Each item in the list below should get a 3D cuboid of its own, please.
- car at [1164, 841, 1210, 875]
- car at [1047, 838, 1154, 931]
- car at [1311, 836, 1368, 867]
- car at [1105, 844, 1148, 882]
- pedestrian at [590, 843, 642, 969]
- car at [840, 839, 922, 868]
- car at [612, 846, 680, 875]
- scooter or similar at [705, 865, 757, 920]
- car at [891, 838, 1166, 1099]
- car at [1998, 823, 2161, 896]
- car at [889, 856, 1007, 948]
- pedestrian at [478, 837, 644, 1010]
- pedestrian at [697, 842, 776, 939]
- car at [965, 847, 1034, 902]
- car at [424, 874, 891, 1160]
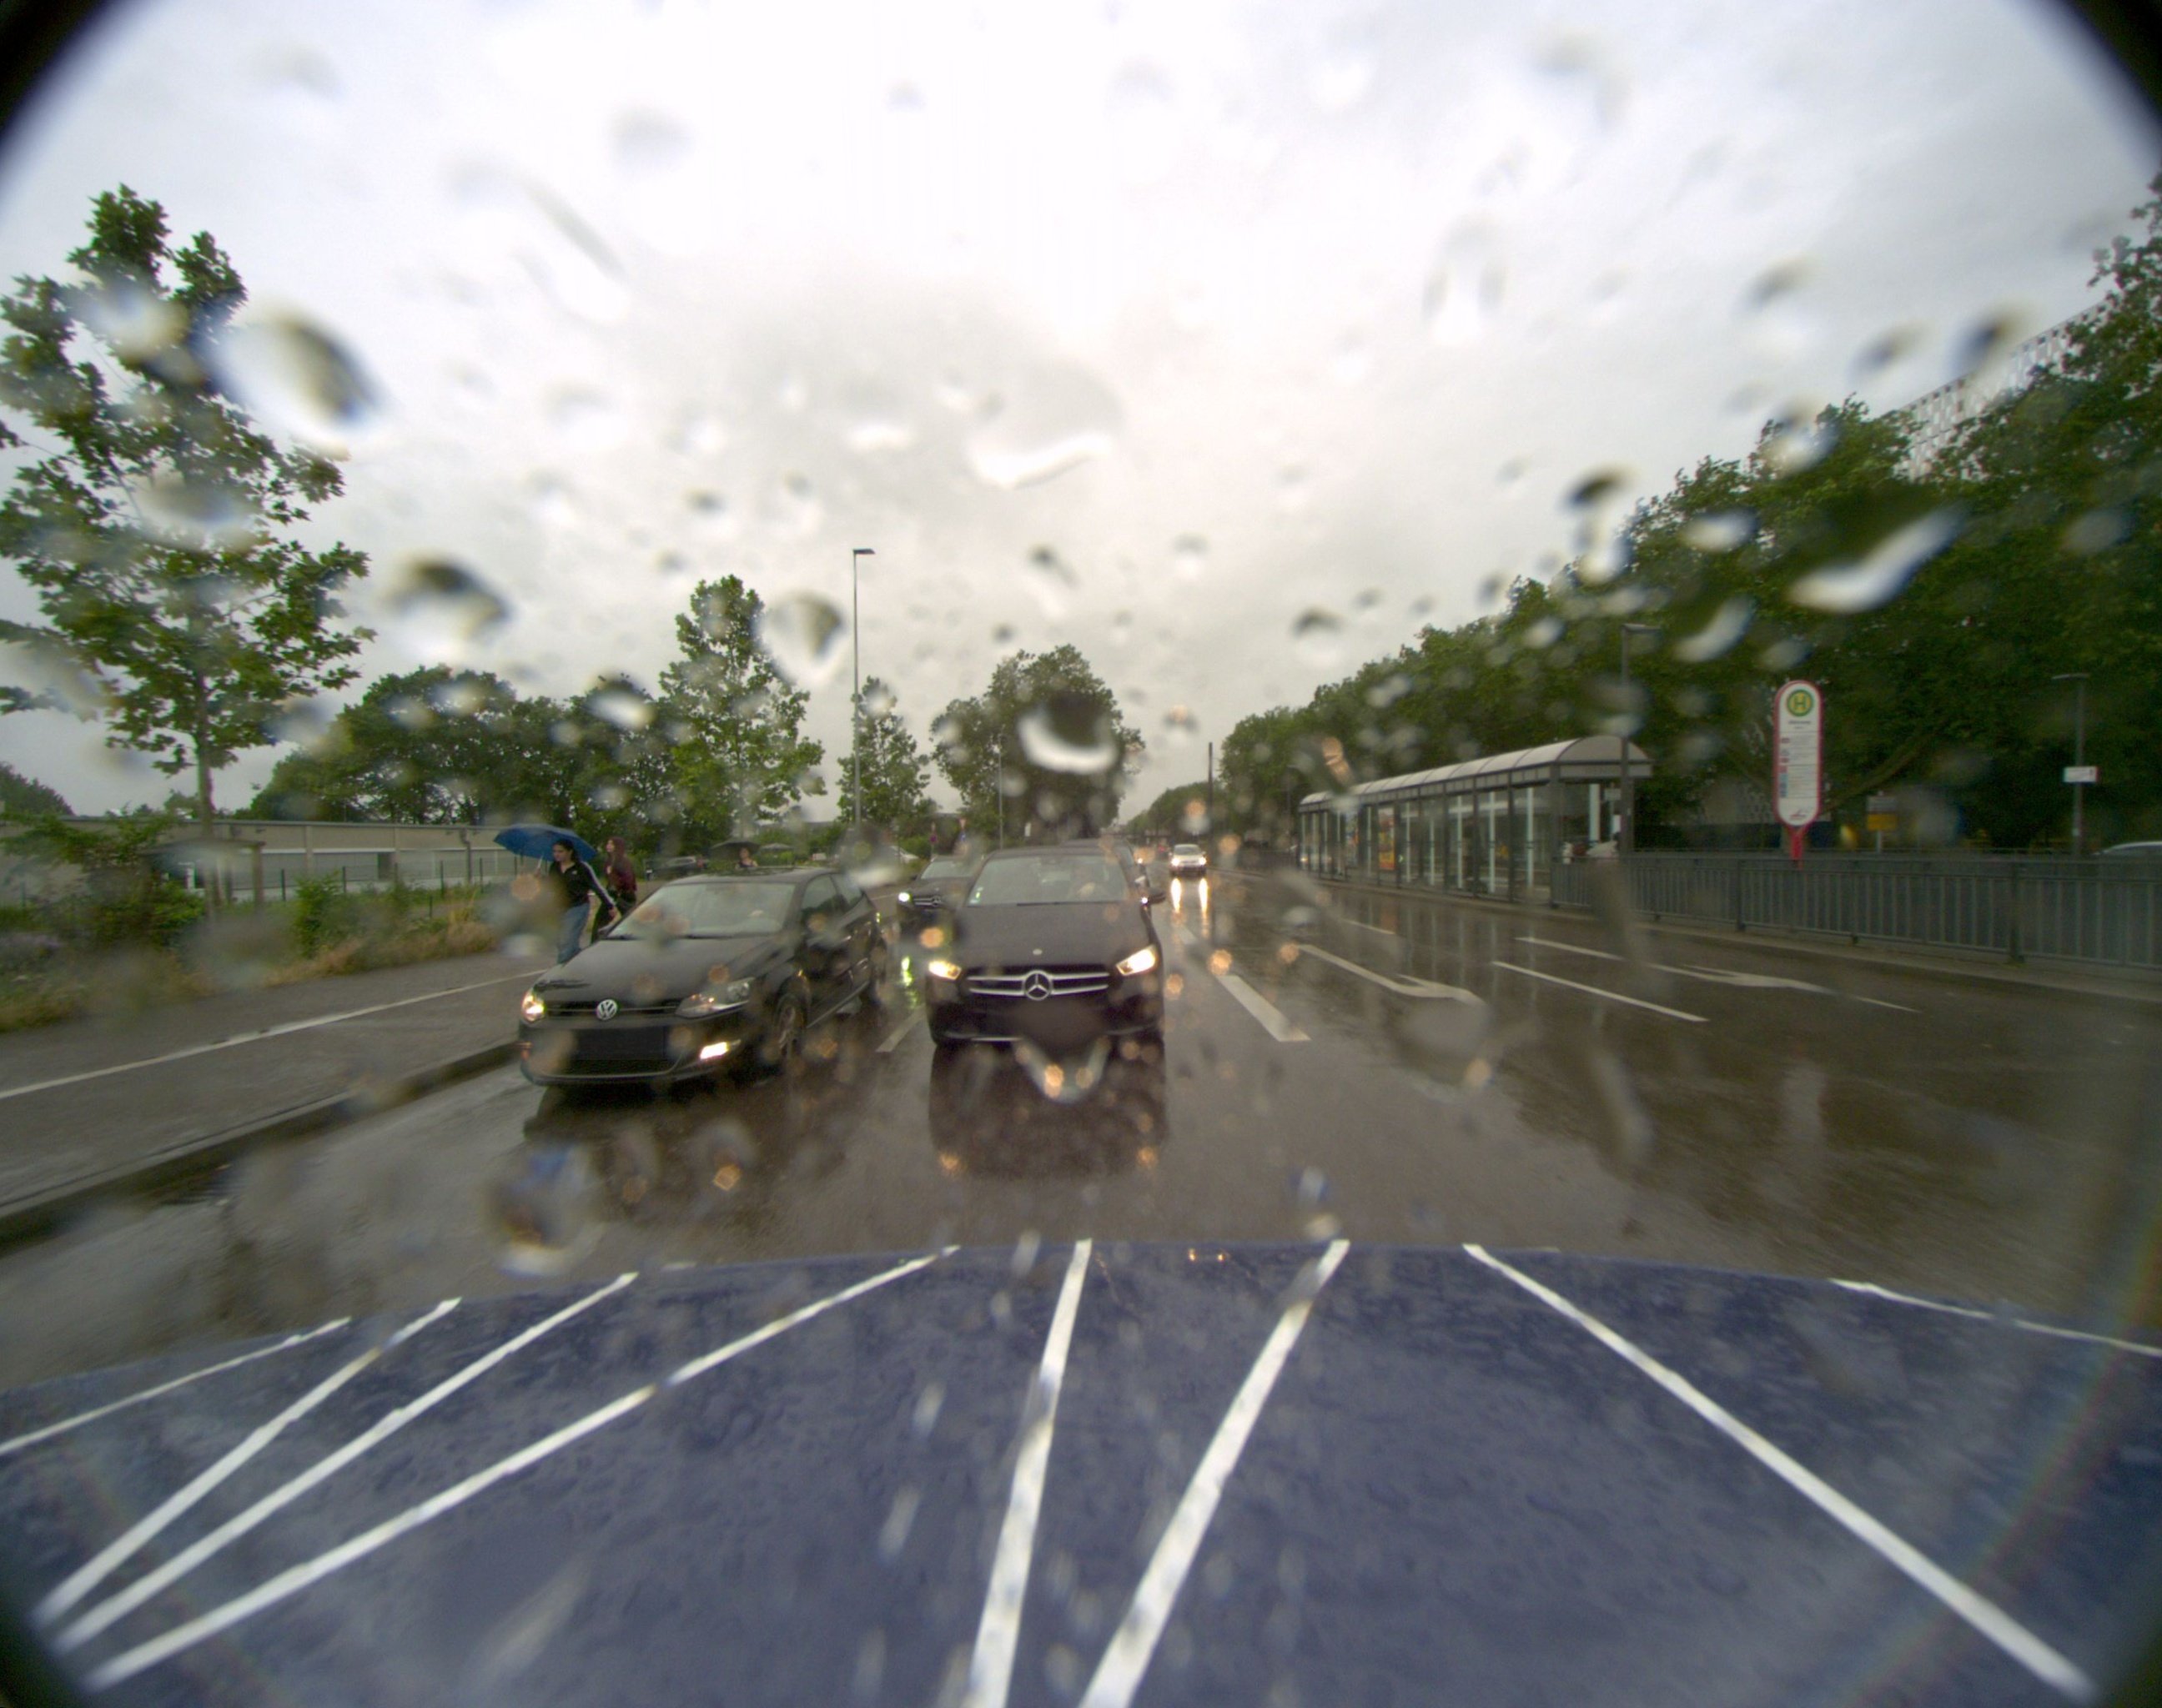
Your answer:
[{"bbox_3d":[5.530,0.164,40.047,1.794,1.597,3.999,-2,2,0],"label":"car"},{"bbox_3d":[0.325,0.458,13.799,1.633,1.420,3.623,-2,1,0],"label":"car"},{"bbox_3d":[12.362,-0.176,36.558,1.527,1.353,3.615,-2,2,1],"label":"car"},{"bbox_3d":[2.122,0.378,36.660,1.794,1.597,3.999,-2,2,0],"label":"car"},{"bbox_3d":[-6.268,0.684,10.254,0.401,1.653,0.440,1,2,0],"label":"pedestrian"},{"bbox_3d":[-13.030,-0.053,49.796,4.759,1.640,1.999,-2,2,-1],"label":"car"},{"bbox_3d":[-33.437,0.463,58.474,3.996,2.002,2.000,-2,2,3],"label":"car"},{"bbox_3d":[-8.056,0.852,17.537,0.381,1.124,1.776,0,2,-1],"label":"scooter or similar"},{"bbox_3d":[-0.282,0.694,6.916,1.689,1.578,4.162,-2,2,1],"label":"car"},{"bbox_3d":[23.508,0.072,16.867,1.702,1.484,3.875,-2,2,2],"label":"car"},{"bbox_3d":[-2.699,0.912,16.279,1.698,1.565,3.813,-2,2,1],"label":"car"},{"bbox_3d":[-5.544,0.698,8.178,1.082,1.746,0.969,0,2,0],"label":"pedestrian"},{"bbox_3d":[-6.298,0.648,13.940,1.025,1.699,0.891,1,2,0],"label":"pedestrian"},{"bbox_3d":[-2.493,0.576,24.105,1.703,1.461,4.121,-2,2,0],"label":"car"},{"bbox_3d":[-2.836,0.970,6.094,1.633,1.420,3.623,-2,1,0],"label":"car"}]
